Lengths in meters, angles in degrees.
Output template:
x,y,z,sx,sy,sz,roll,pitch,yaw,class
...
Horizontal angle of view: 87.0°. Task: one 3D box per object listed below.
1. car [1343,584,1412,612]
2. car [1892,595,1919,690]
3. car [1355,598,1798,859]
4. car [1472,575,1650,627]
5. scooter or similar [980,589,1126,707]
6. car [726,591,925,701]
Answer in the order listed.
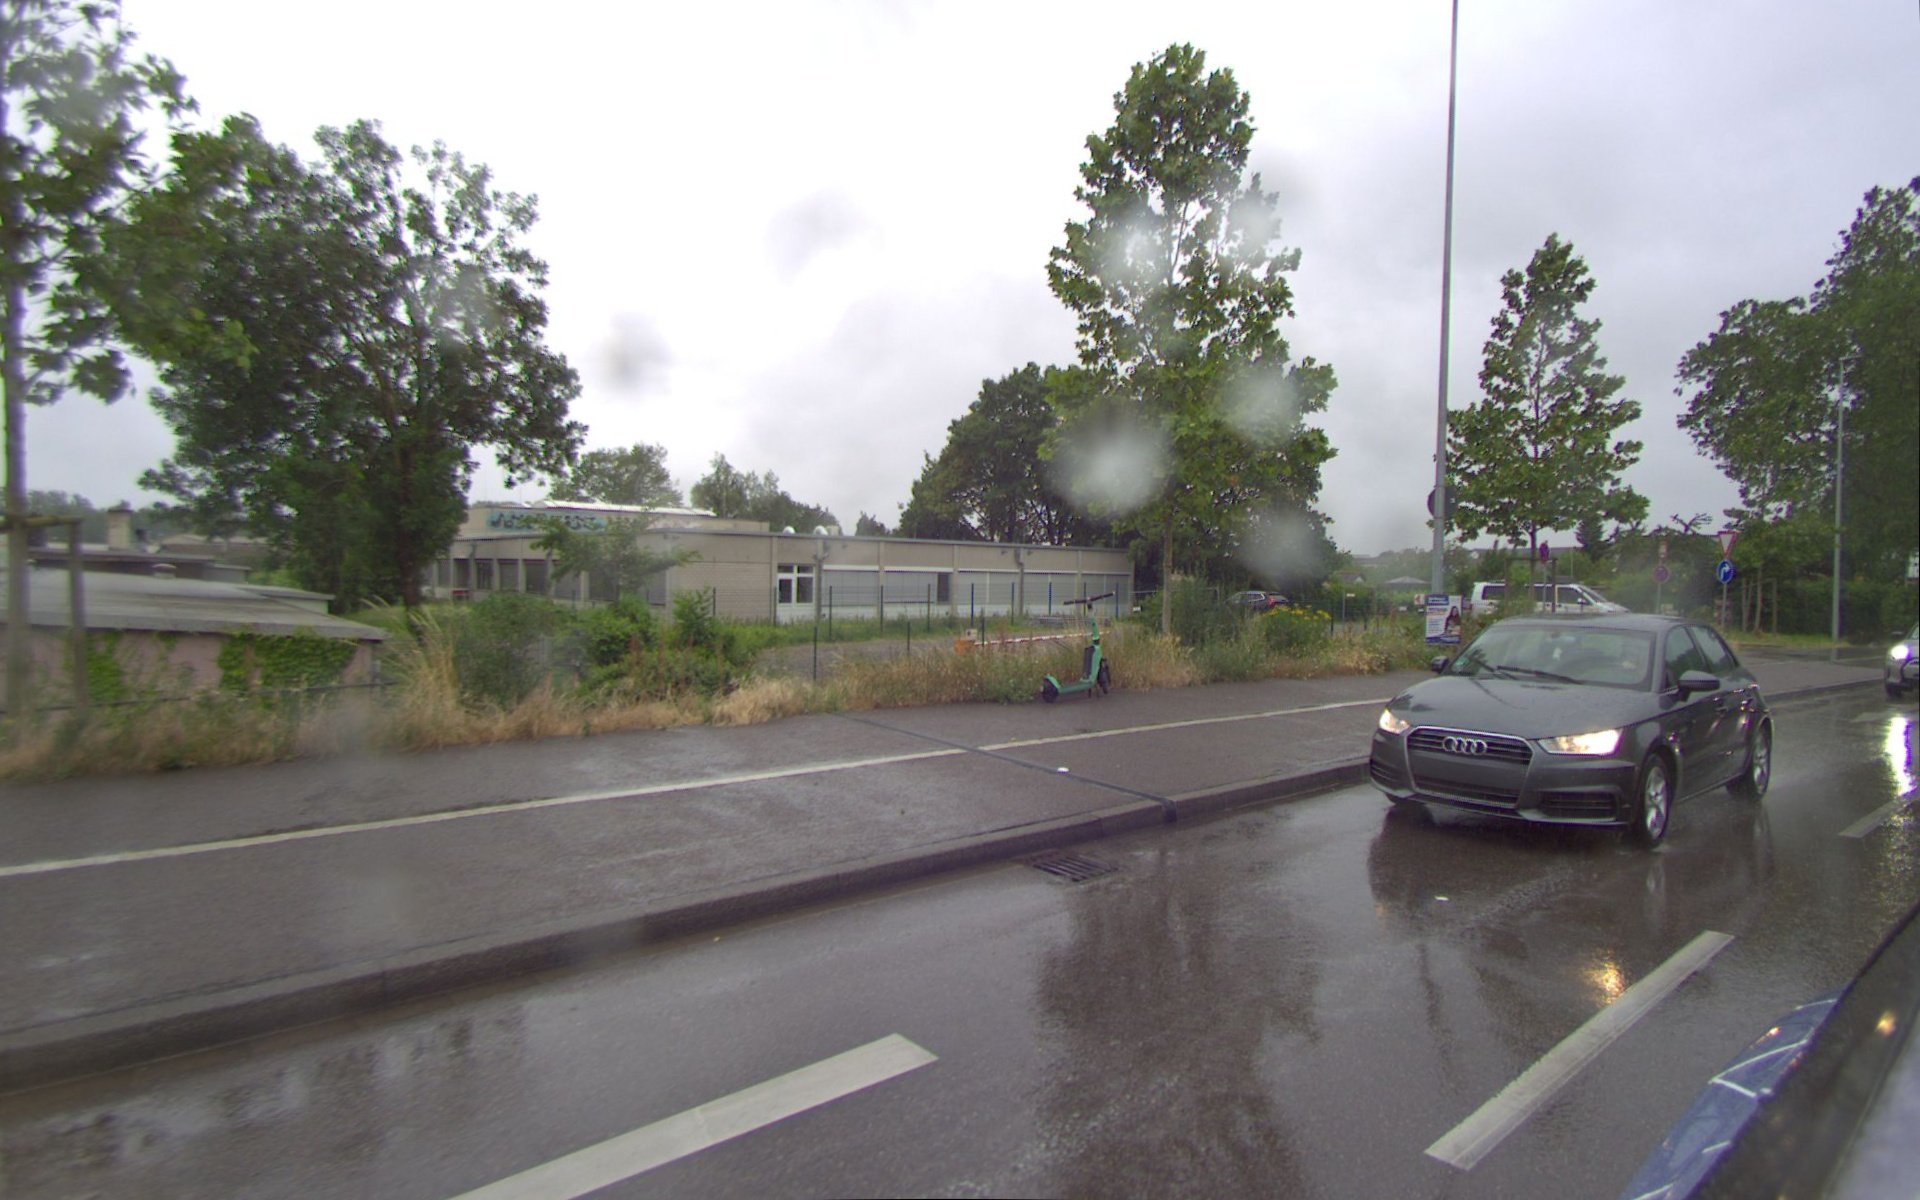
x,y,z,sx,sy,sz,roll,pitch,yaw,class
24.306,-0.124,58.955,1.319,1.604,3.555,0,0,-35,car
17.360,0.680,17.203,3.810,1.527,1.706,-1,0,-39,car
4.578,0.731,7.343,3.565,1.383,1.601,1,1,-39,car
21.579,0.020,36.519,1.972,1.747,5.168,-1,0,-42,car
1.065,0.493,11.266,1.878,1.214,0.367,0,1,-38,scooter or similar
-1.918,0.538,13.749,1.319,1.304,3.246,0,0,-35,car
